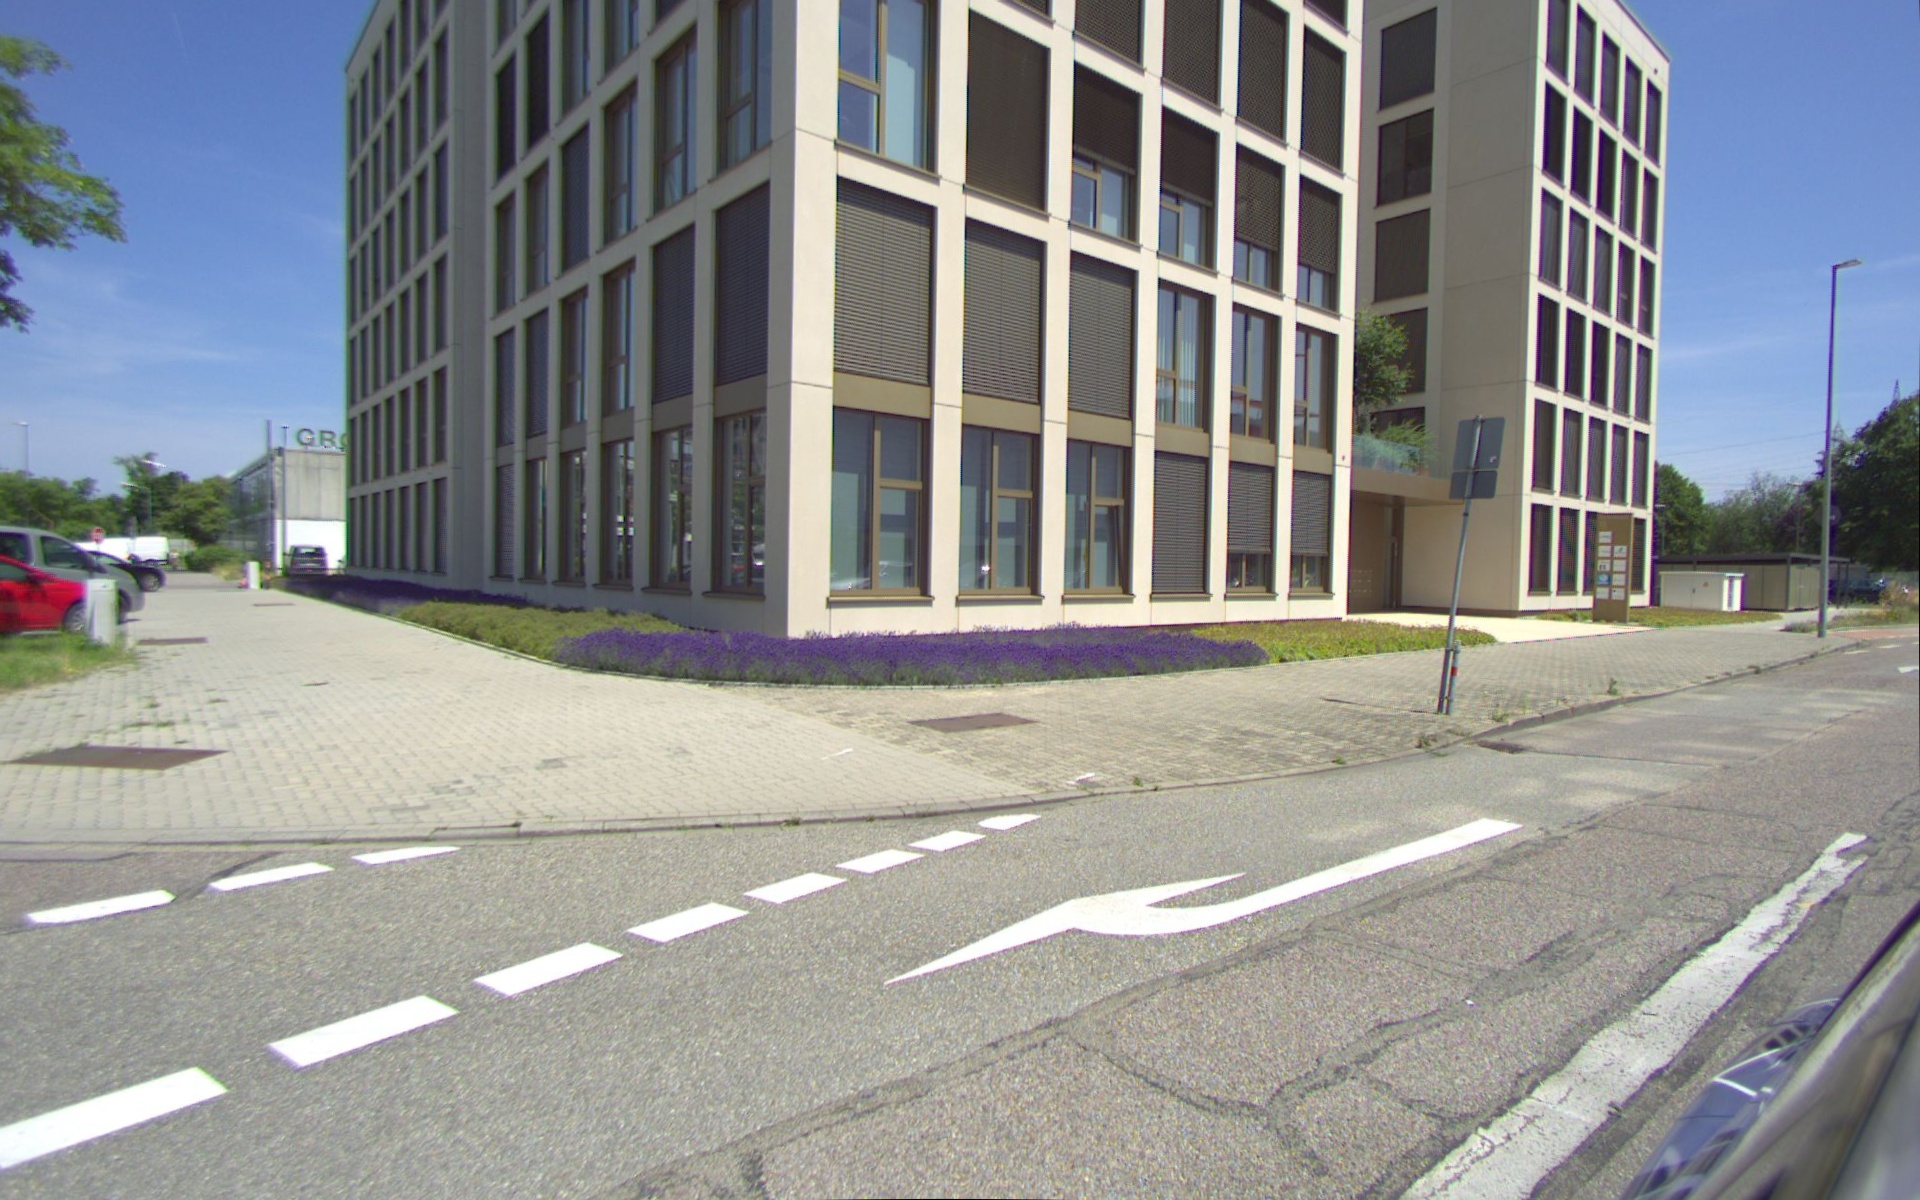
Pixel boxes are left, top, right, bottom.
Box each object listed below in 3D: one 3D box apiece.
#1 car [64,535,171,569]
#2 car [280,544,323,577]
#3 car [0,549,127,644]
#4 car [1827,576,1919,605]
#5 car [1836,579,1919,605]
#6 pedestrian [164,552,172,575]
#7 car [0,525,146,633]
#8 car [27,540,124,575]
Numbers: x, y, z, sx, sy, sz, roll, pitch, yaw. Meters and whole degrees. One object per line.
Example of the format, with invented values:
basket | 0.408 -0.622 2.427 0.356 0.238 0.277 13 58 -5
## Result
car | -67.775 -3.826 81.618 6.573 2.552 2.217 -1 0 -38
car | -37.952 -2.232 58.296 1.763 1.749 3.997 0 0 -38
car | -15.481 -0.061 15.578 1.672 1.449 3.990 1 3 10
car | 53.638 -0.565 59.555 3.810 1.571 1.716 2 2 36
car | 55.249 -0.509 60.776 3.810 1.411 1.716 2 2 36
pedestrian | -55.080 -2.566 70.393 0.397 1.579 0.549 0 2 -39
car | -17.874 -0.400 18.444 1.886 1.910 4.927 1 1 5
car | -55.158 -2.598 63.230 4.495 2.039 1.997 -1 0 -40
